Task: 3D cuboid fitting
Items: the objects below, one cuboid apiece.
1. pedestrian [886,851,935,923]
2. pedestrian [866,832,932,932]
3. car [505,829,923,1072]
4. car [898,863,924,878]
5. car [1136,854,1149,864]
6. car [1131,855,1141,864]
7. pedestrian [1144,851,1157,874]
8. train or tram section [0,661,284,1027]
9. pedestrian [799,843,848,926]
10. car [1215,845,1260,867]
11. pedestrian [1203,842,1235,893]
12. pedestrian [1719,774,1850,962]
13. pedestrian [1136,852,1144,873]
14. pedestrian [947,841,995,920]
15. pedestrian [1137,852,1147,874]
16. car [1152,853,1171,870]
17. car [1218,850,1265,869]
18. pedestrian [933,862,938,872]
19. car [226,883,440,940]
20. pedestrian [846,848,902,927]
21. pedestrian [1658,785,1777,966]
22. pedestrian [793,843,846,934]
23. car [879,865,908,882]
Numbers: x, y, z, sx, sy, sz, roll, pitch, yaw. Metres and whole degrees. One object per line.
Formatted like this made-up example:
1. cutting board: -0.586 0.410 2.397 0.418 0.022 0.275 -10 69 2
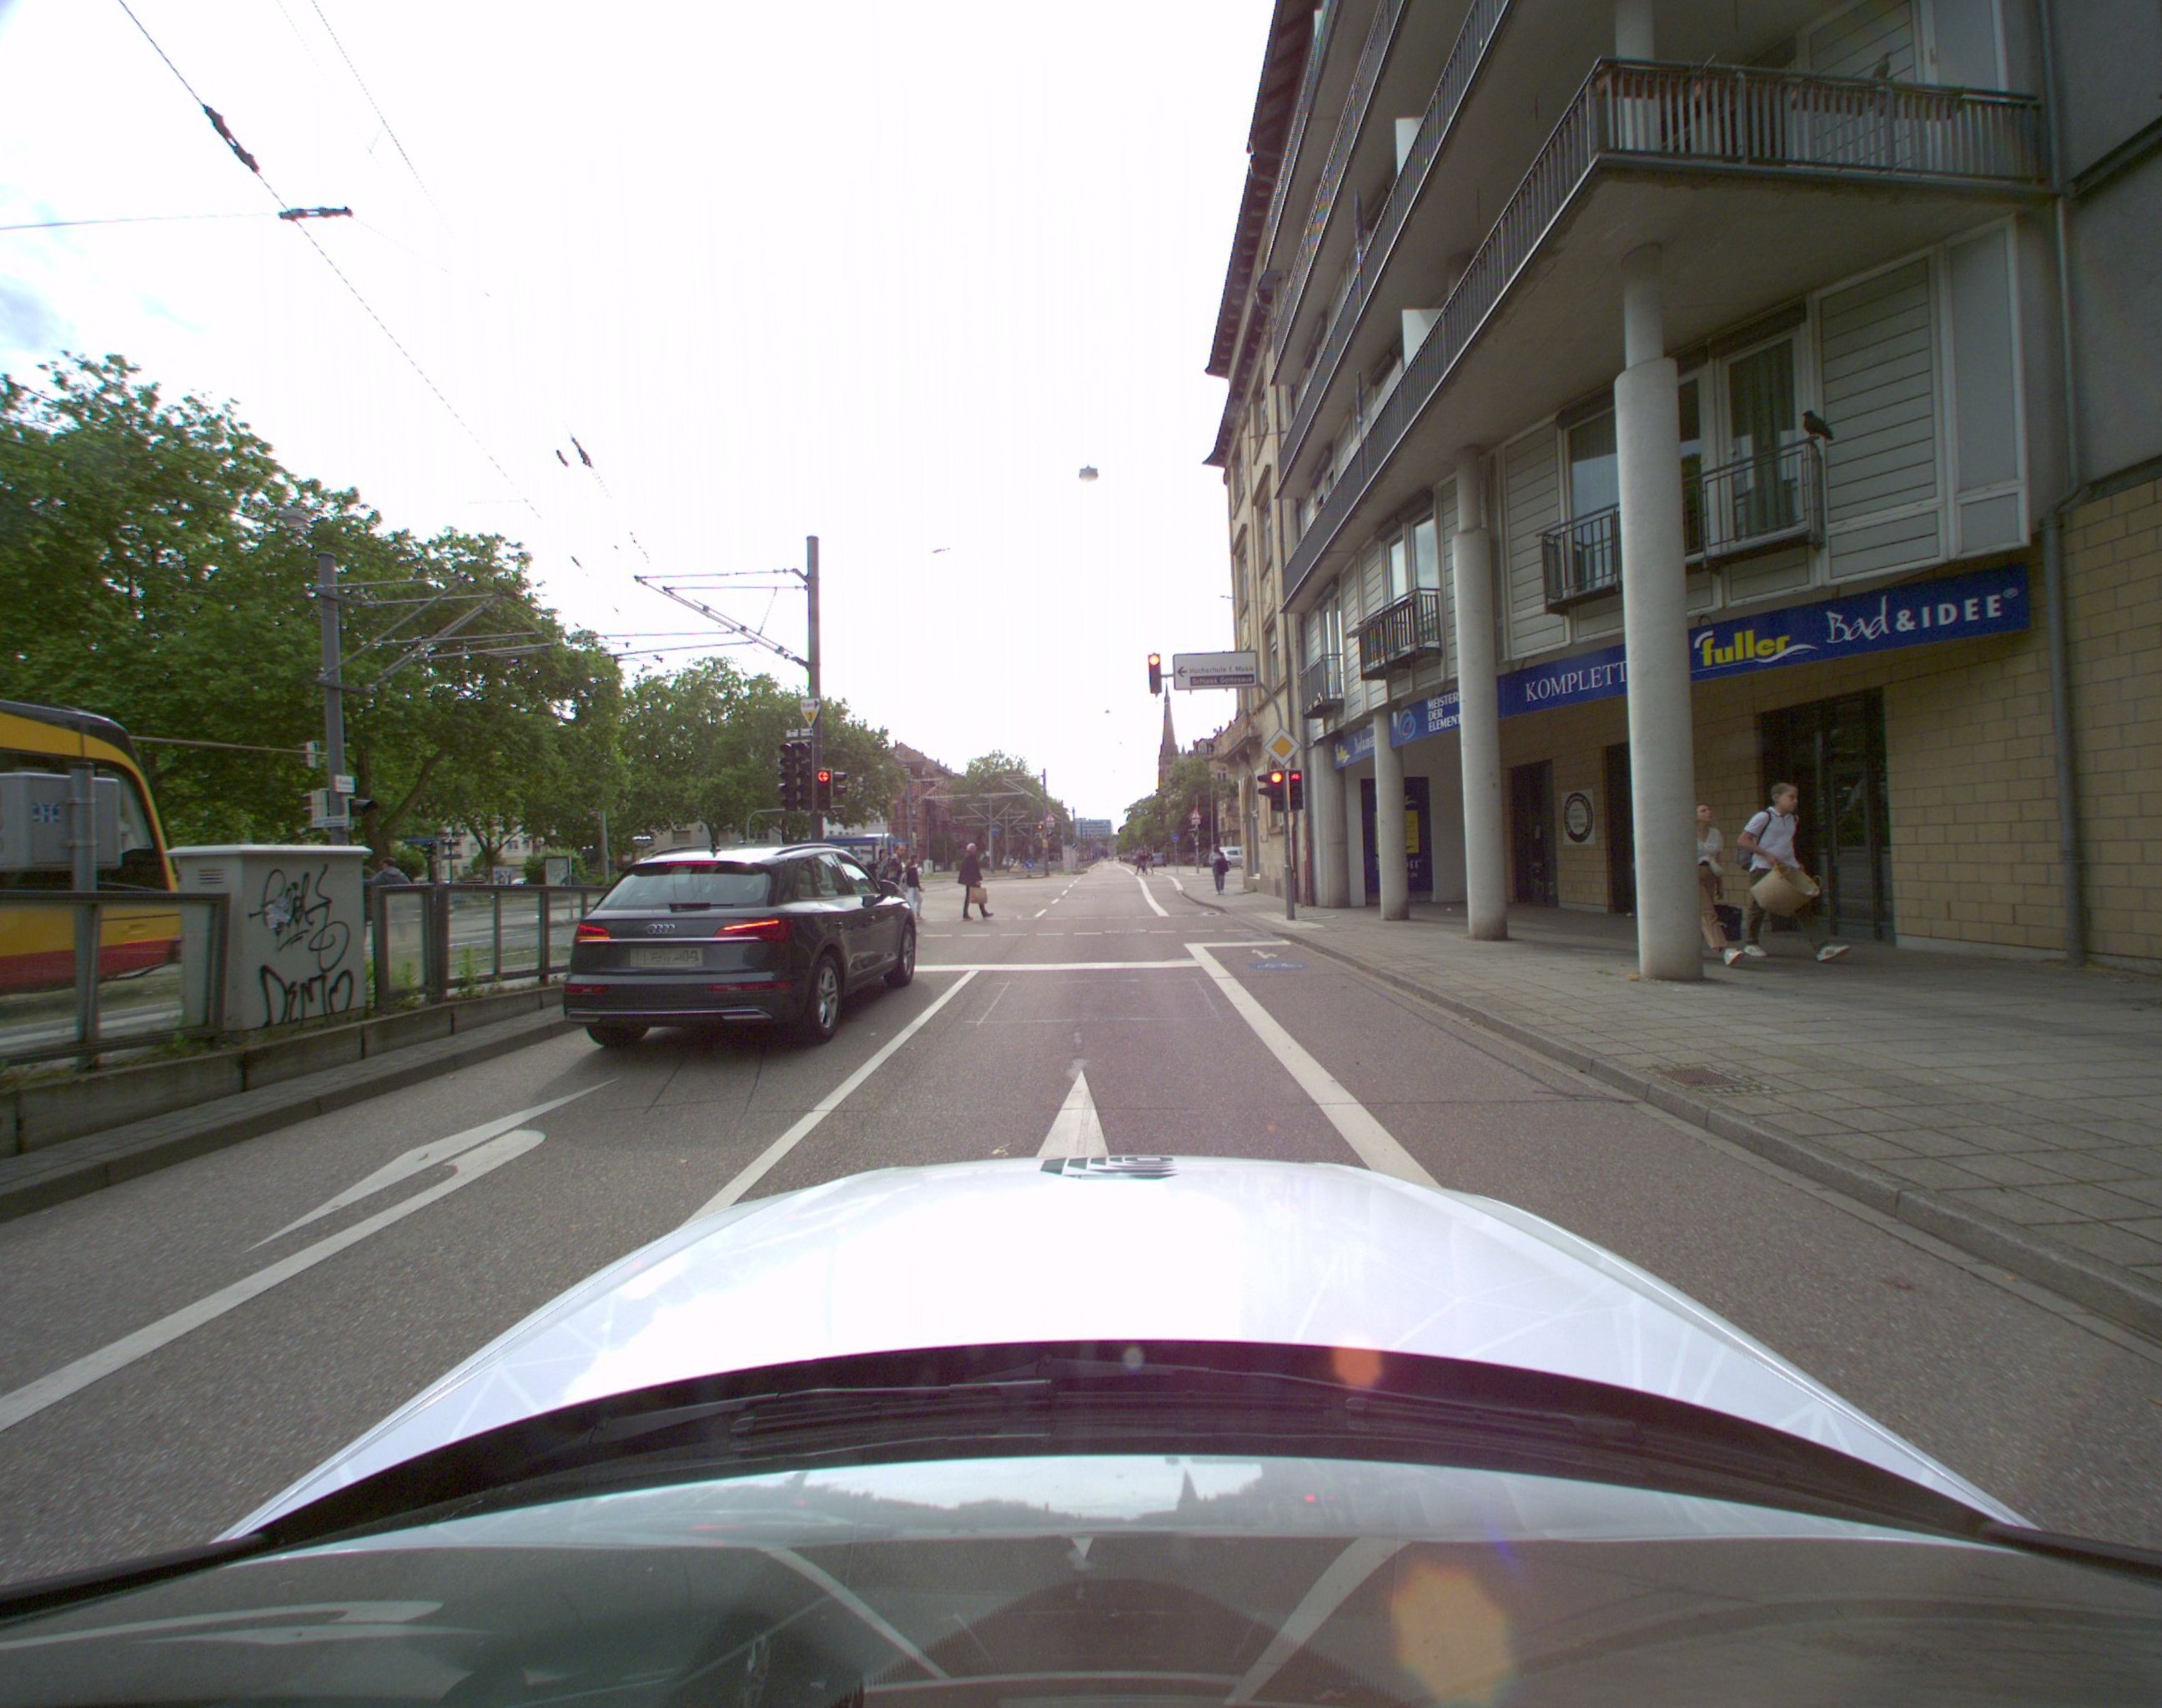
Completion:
1. pedestrian: -3.873 0.732 18.539 0.693 1.593 0.836 -1 -1 39
2. pedestrian: -3.362 0.502 15.032 1.132 1.778 0.625 -1 -1 -16
3. car: -2.916 0.667 7.702 1.873 1.601 4.358 -1 0 1
4. car: -18.027 1.756 86.570 1.887 1.557 3.838 -1 0 2
5. car: 10.157 0.829 135.015 1.986 1.607 4.165 -3 -1 2
6. car: 12.122 1.145 179.213 1.986 2.014 4.001 -1 0 2
7. pedestrian: 4.886 0.594 57.182 0.848 1.654 0.508 -1 -1 -1
8. train or tram section: -12.307 -0.118 2.855 3.048 3.588 15.855 -1 0 2
9. pedestrian: -5.786 0.661 18.300 1.015 1.813 0.580 0 -1 -21
10. car: 14.366 0.172 74.903 3.784 1.904 2.001 -1 -1 1
11. pedestrian: 4.622 0.453 27.288 0.663 1.680 0.874 -1 -1 40
12. pedestrian: 7.451 0.145 8.660 0.672 1.890 0.738 -3 -1 3
13. pedestrian: 4.286 0.632 59.380 0.544 1.537 0.465 -1 -1 -3
14. pedestrian: -2.542 0.598 18.829 0.906 1.784 0.651 -1 -1 39
15. pedestrian: 4.391 0.640 58.823 0.651 1.537 0.465 -1 -1 -3
16. car: 9.517 0.858 96.961 1.986 2.014 4.001 -1 0 2
17. car: 14.093 0.524 71.492 3.784 1.601 2.001 -1 -1 1
18. pedestrian: -21.002 1.852 117.710 0.447 1.460 0.528 -1 -1 28
19. car: -22.795 1.711 25.048 4.446 1.510 1.826 0 -1 -20
20. pedestrian: -4.452 0.697 17.533 0.620 1.652 1.003 -1 -1 32
21. pedestrian: 6.697 0.219 8.610 0.613 1.805 0.738 -3 -1 3
22. pedestrian: -4.905 0.637 15.337 0.725 1.661 0.756 -1 -1 1
23. car: -18.311 1.881 79.739 1.887 1.557 3.838 -1 0 2
